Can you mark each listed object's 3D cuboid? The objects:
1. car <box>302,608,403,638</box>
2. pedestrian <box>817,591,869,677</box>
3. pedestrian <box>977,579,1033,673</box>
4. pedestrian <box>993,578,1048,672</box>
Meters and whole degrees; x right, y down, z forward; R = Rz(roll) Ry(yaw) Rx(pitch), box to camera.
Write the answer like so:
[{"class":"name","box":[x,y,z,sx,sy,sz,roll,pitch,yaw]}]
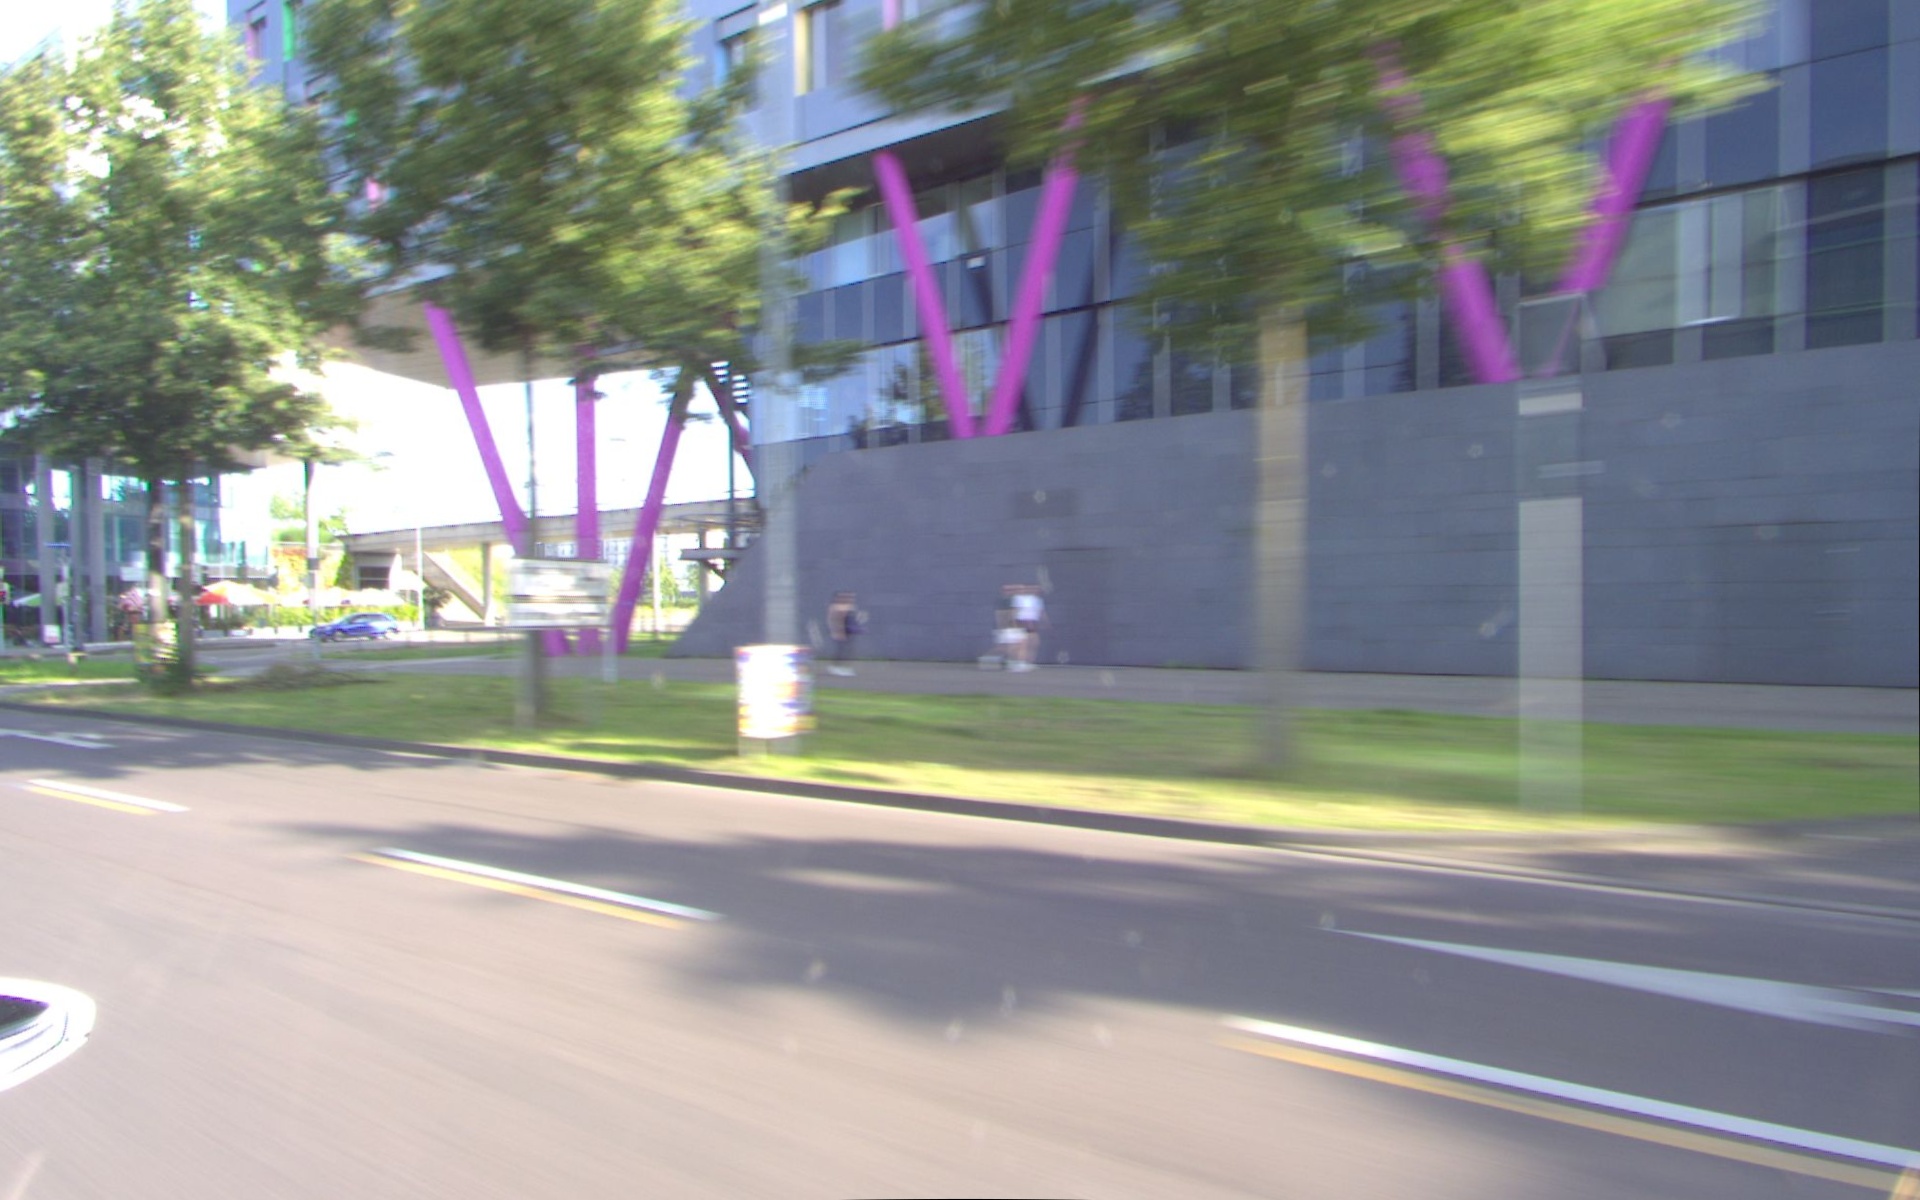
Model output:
[{"class":"car","box":[-32.111,1.172,53.047,1.831,1.443,4.178,0,1,30]},{"class":"pedestrian","box":[-2.334,0.661,19.948,0.725,1.661,0.692,0,3,30]},{"class":"pedestrian","box":[0.898,0.499,19.857,0.831,1.818,0.753,0,2,30]},{"class":"pedestrian","box":[1.230,0.487,20.301,0.840,1.850,0.766,0,3,30]}]
